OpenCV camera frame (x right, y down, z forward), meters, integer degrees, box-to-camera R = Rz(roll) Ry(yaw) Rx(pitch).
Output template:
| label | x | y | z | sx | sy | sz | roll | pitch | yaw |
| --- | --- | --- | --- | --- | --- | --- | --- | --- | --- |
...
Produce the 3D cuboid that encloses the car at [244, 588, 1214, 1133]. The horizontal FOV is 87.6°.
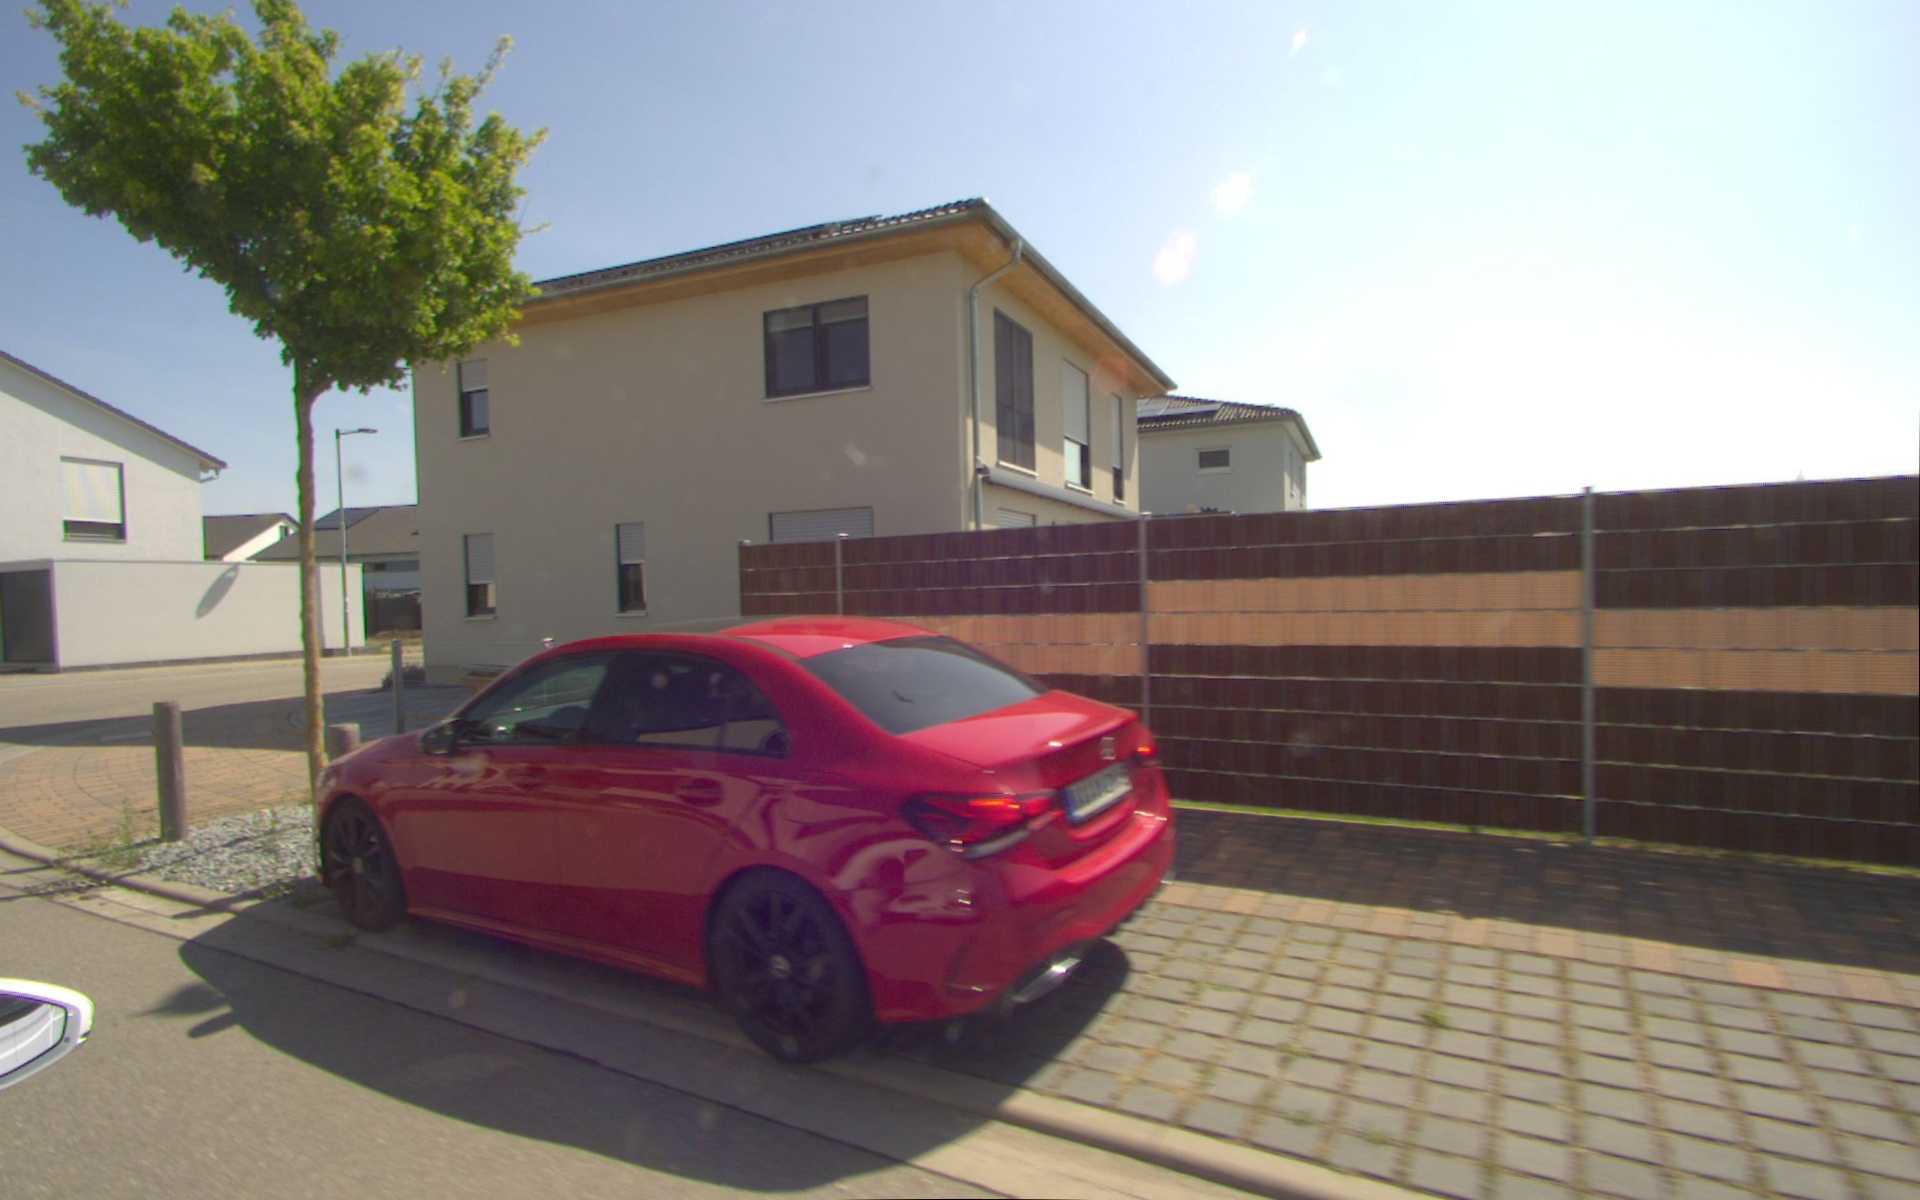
| label | x | y | z | sx | sy | sz | roll | pitch | yaw |
| --- | --- | --- | --- | --- | --- | --- | --- | --- | --- |
| car | -1.282 | 0.750 | 4.677 | 4.455 | 1.457 | 1.758 | -1 | 2 | 32 |
